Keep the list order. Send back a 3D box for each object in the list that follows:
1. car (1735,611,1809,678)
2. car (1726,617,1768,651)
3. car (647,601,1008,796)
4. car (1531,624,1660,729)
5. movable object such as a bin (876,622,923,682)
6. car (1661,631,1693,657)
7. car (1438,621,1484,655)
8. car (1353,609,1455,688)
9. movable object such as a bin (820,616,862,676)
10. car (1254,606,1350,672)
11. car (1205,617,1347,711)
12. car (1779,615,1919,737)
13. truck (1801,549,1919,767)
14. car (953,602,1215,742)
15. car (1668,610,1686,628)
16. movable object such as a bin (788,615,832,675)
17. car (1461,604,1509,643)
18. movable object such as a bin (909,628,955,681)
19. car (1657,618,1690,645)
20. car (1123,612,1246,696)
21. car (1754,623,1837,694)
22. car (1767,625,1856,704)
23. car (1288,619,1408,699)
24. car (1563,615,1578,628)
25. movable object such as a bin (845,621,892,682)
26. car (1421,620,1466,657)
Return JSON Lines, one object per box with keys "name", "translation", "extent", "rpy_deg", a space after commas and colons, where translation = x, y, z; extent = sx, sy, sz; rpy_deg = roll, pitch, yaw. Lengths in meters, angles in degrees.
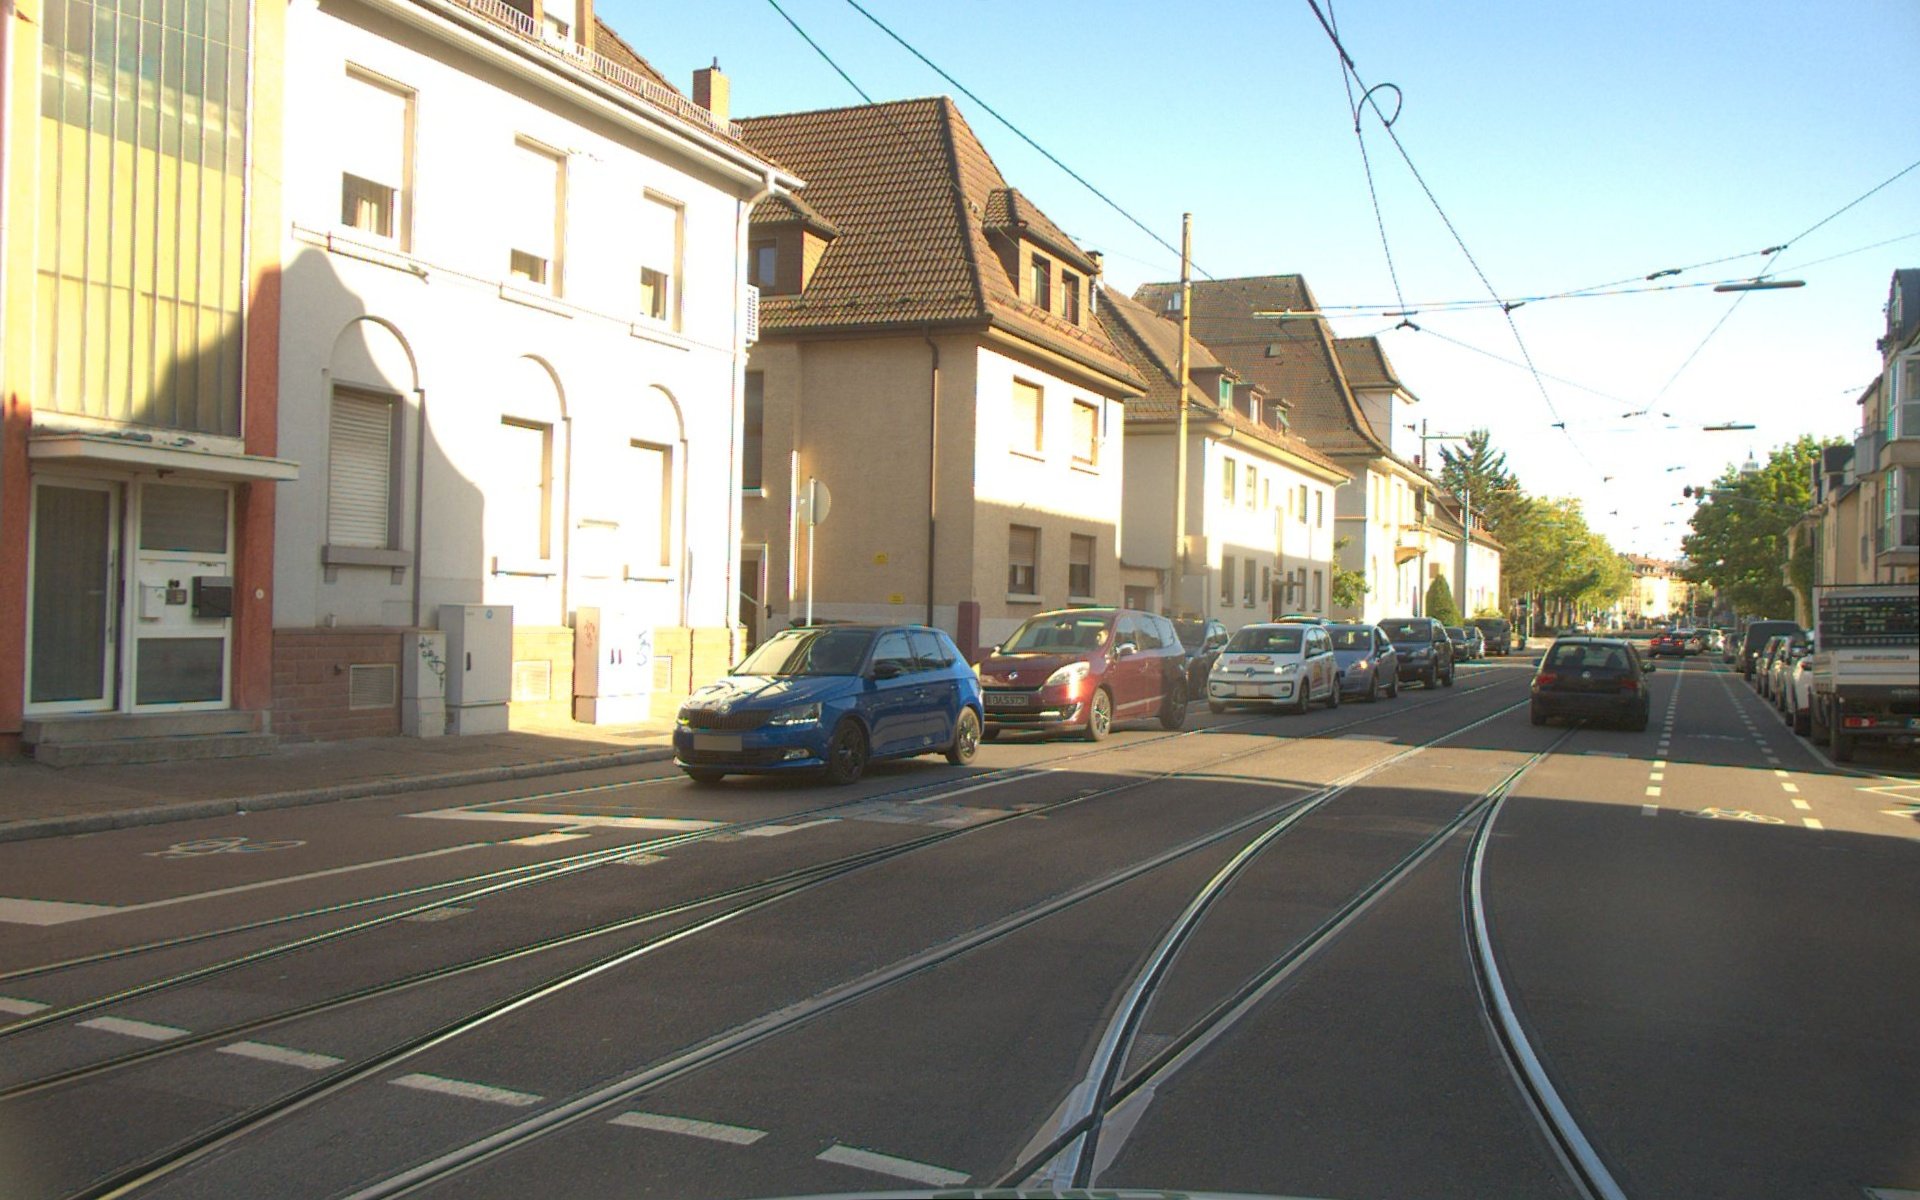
{"name": "car", "translation": [26.540, 1.404, 54.175], "extent": [1.867, 2.022, 4.561], "rpy_deg": [2, 1, 23]}
{"name": "car", "translation": [38.967, 1.685, 81.942], "extent": [1.569, 1.552, 3.549], "rpy_deg": [2, 1, 22]}
{"name": "car", "translation": [-1.109, 0.844, 15.725], "extent": [1.651, 1.595, 3.925], "rpy_deg": [-2, -1, 26]}
{"name": "car", "translation": [10.347, 1.168, 26.770], "extent": [1.682, 1.427, 4.004], "rpy_deg": [4, 1, 24]}
{"name": "movable object such as a bin", "translation": [-1.165, 1.001, 31.894], "extent": [0.603, 1.098, 0.672], "rpy_deg": [4, 1, 24]}
{"name": "car", "translation": [43.354, 2.630, 100.000], "extent": [1.705, 1.466, 3.807], "rpy_deg": [1, 0, 24]}
{"name": "car", "translation": [24.076, 1.815, 79.412], "extent": [1.643, 1.503, 3.833], "rpy_deg": [2, 1, 24]}
{"name": "car", "translation": [10.609, 1.112, 39.339], "extent": [1.669, 1.734, 4.361], "rpy_deg": [0, 0, 24]}
{"name": "movable object such as a bin", "translation": [-2.328, 0.903, 32.468], "extent": [0.558, 1.131, 0.590], "rpy_deg": [4, 1, 24]}
{"name": "car", "translation": [9.510, 1.059, 45.734], "extent": [1.726, 1.735, 4.554], "rpy_deg": [-1, -1, 23]}
{"name": "car", "translation": [5.460, 1.046, 28.307], "extent": [1.551, 1.486, 3.611], "rpy_deg": [-1, -1, 25]}
{"name": "car", "translation": [14.707, 1.188, 27.523], "extent": [1.704, 1.777, 4.253], "rpy_deg": [2, 1, 24]}
{"name": "truck", "translation": [12.539, 0.687, 21.815], "extent": [2.249, 2.521, 6.143], "rpy_deg": [0, 0, 24]}
{"name": "car", "translation": [1.768, 0.876, 21.829], "extent": [1.705, 1.639, 4.707], "rpy_deg": [-1, -1, 28]}
{"name": "car", "translation": [81.445, 2.151, 187.924], "extent": [1.751, 1.892, 3.999], "rpy_deg": [3, 1, 22]}
{"name": "movable object such as a bin", "translation": [-2.961, 0.876, 32.705], "extent": [0.603, 1.131, 0.590], "rpy_deg": [4, 1, 24]}
{"name": "car", "translation": [29.220, 1.272, 91.969], "extent": [1.868, 2.049, 4.945], "rpy_deg": [2, 1, 25]}
{"name": "movable object such as a bin", "translation": [-0.531, 1.045, 31.723], "extent": [0.644, 0.961, 0.582], "rpy_deg": [4, 1, 24]}
{"name": "car", "translation": [38.779, 1.695, 89.847], "extent": [1.602, 1.396, 3.755], "rpy_deg": [0, 0, 25]}
{"name": "car", "translation": [4.789, 1.102, 34.860], "extent": [1.583, 1.656, 3.920], "rpy_deg": [-1, -1, 23]}
{"name": "car", "translation": [20.624, 1.404, 40.919], "extent": [1.522, 1.584, 3.651], "rpy_deg": [2, 1, 23]}
{"name": "car", "translation": [19.051, 1.404, 37.114], "extent": [1.466, 1.584, 3.364], "rpy_deg": [2, 1, 23]}
{"name": "car", "translation": [7.764, 1.130, 32.887], "extent": [1.585, 1.486, 4.073], "rpy_deg": [-1, -1, 24]}
{"name": "car", "translation": [71.972, 2.517, 194.967], "extent": [1.542, 1.503, 3.442], "rpy_deg": [0, 0, 18]}
{"name": "movable object such as a bin", "translation": [-1.775, 0.989, 32.151], "extent": [0.629, 1.131, 0.672], "rpy_deg": [4, 1, 24]}
{"name": "car", "translation": [21.354, 1.675, 72.960], "extent": [1.628, 1.503, 4.251], "rpy_deg": [1, 0, 20]}
